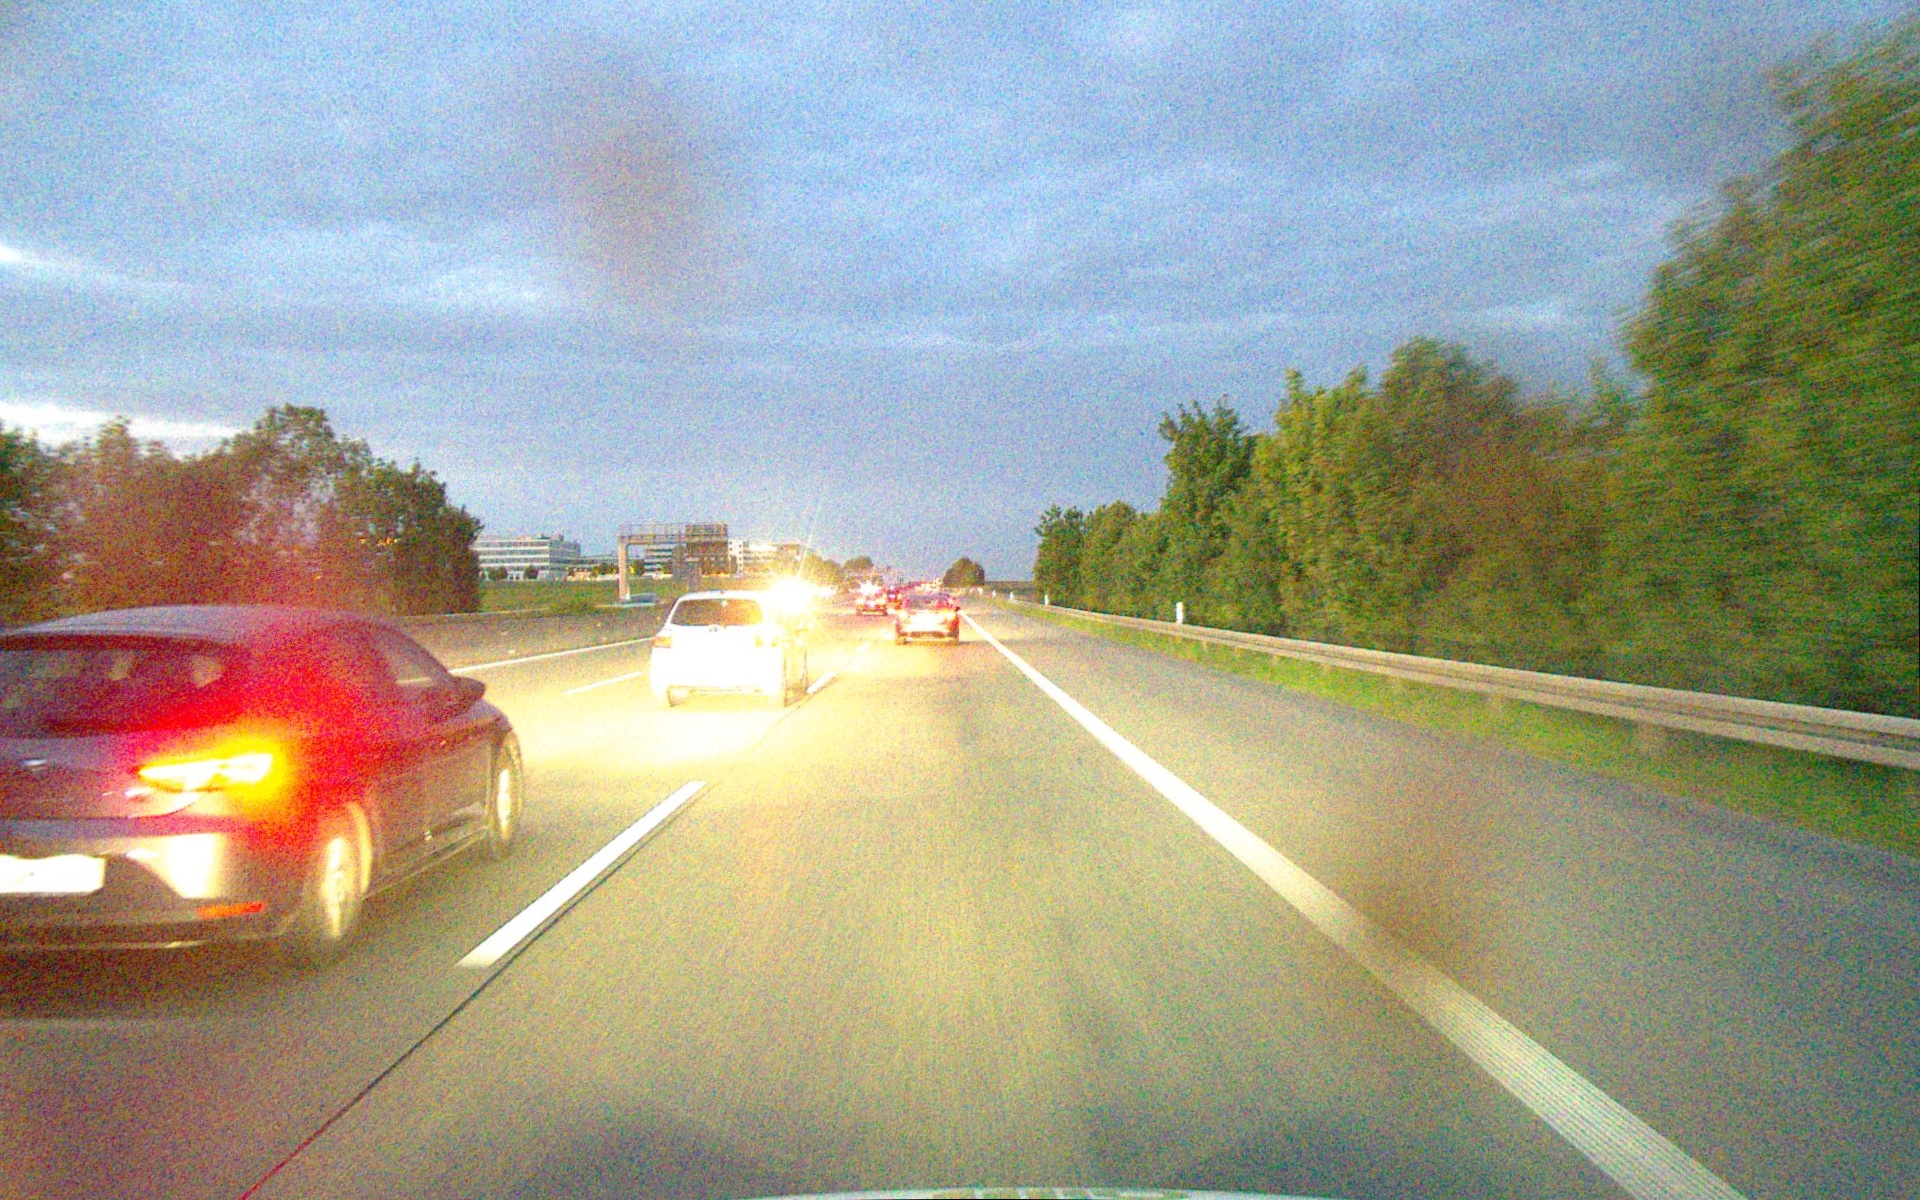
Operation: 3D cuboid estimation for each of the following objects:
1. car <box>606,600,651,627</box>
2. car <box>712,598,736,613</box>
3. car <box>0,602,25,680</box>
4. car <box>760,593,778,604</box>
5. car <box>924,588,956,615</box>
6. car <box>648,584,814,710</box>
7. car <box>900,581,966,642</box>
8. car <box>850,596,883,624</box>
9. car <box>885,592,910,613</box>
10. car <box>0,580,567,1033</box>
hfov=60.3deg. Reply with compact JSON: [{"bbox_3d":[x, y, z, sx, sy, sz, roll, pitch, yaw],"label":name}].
[{"bbox_3d":[-17.127,0.695,85.601,1.621,1.311,3.644,1,0,-1],"label":"car"},{"bbox_3d":[-22.190,0.482,155.563,1.709,1.386,4.110,1,0,-1],"label":"car"},{"bbox_3d":[-15.584,0.616,24.153,1.631,1.199,3.999,1,0,-1],"label":"car"},{"bbox_3d":[-28.068,-0.231,243.021,1.953,1.548,5.834,1,0,-1],"label":"car"},{"bbox_3d":[-1.254,0.102,100.600,1.842,1.579,3.998,1,0,-2],"label":"car"},{"bbox_3d":[-3.056,0.592,22.885,1.709,1.551,4.413,1,0,-1],"label":"car"},{"bbox_3d":[-0.794,0.338,48.249,1.842,1.672,3.999,1,0,-1],"label":"car"},{"bbox_3d":[-5.456,0.553,96.877,1.842,1.579,3.998,1,0,-2],"label":"car"},{"bbox_3d":[-5.782,0.269,153.589,2.154,1.912,3.999,1,0,-1],"label":"car"},{"bbox_3d":[-3.226,0.690,7.855,1.688,1.497,4.724,1,0,-2],"label":"car"}]
